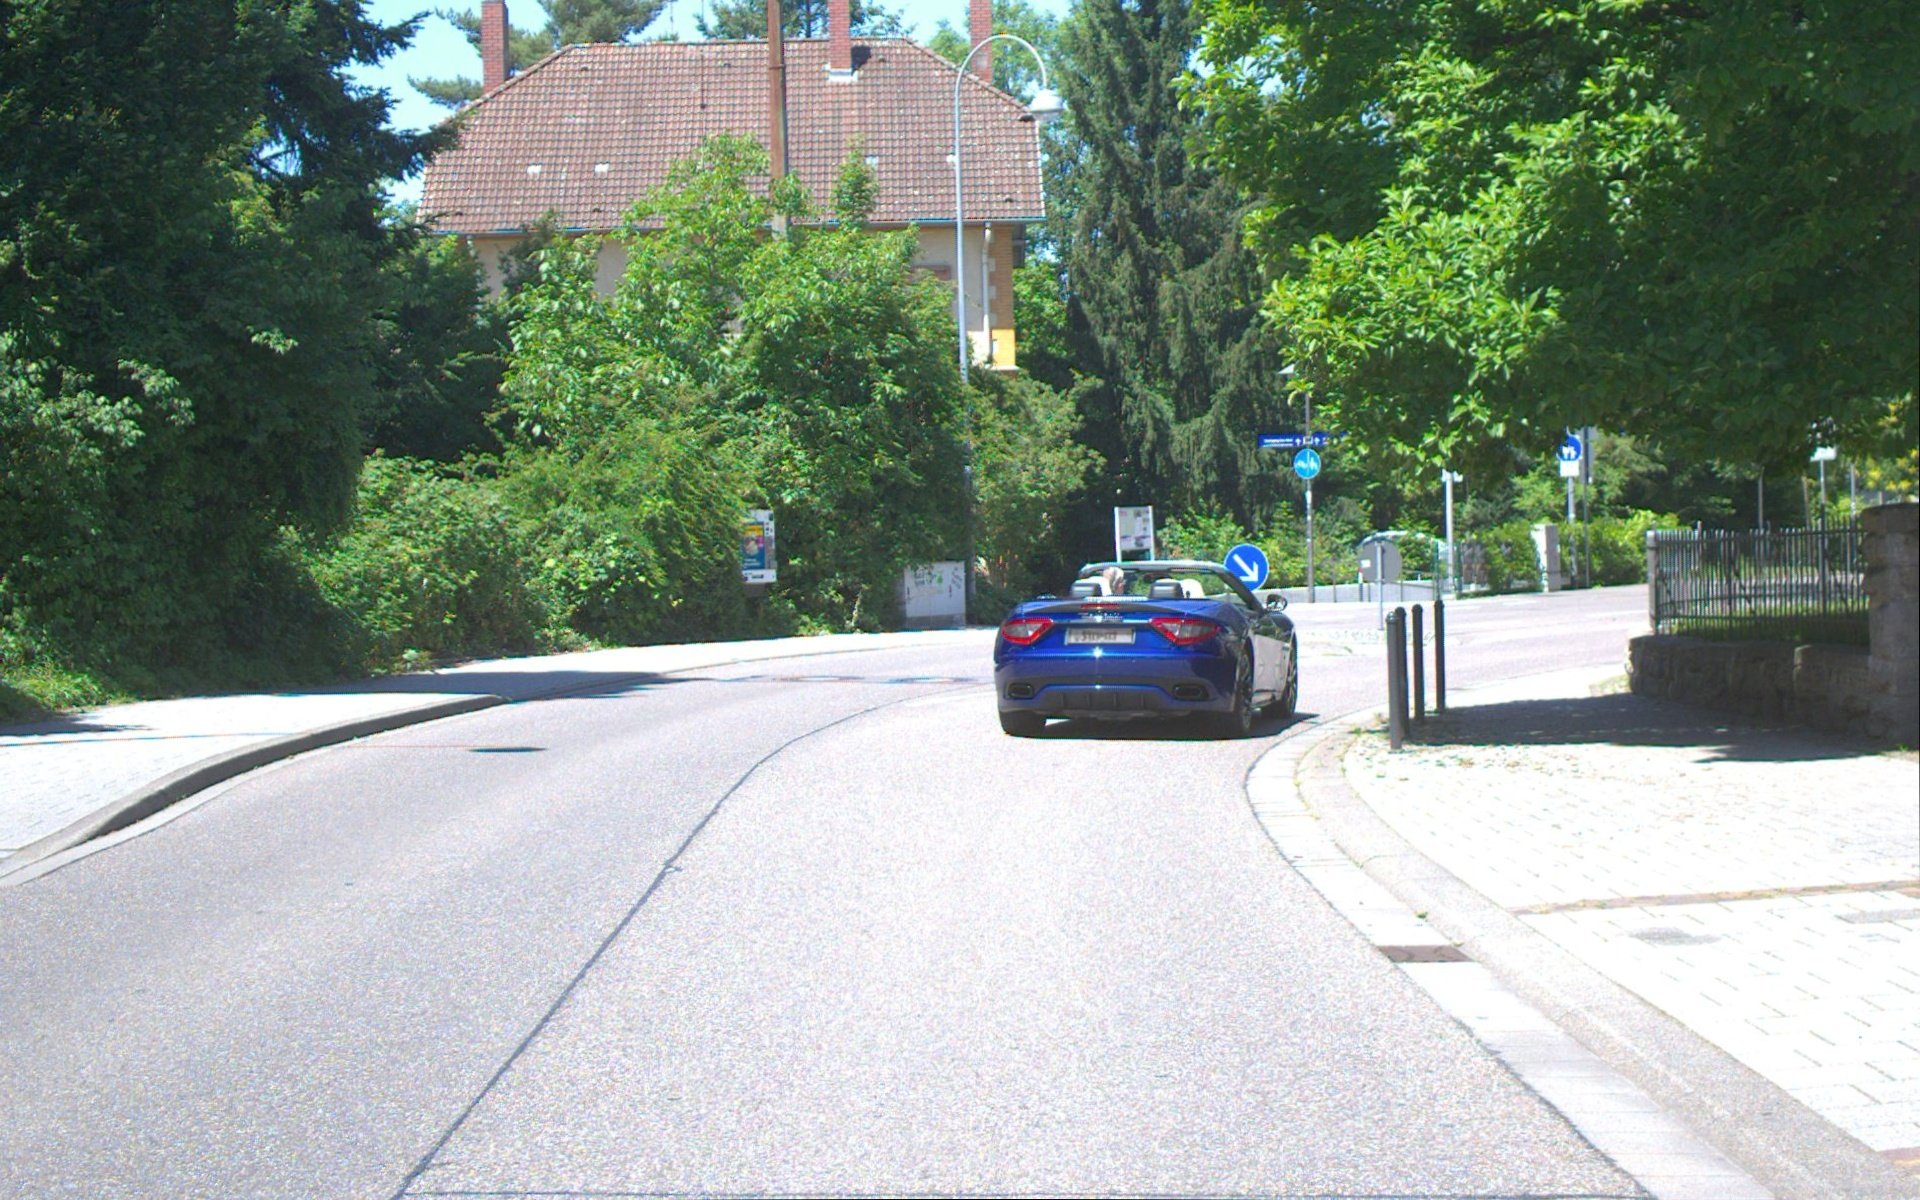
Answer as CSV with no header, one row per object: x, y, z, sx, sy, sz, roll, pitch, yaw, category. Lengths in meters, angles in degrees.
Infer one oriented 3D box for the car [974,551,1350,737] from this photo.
1.714,0.290,27.320,1.828,1.332,4.696,0,1,18,car

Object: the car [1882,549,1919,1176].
2.935,0.600,5.495,1.631,1.441,4.398,-4,1,0,car
